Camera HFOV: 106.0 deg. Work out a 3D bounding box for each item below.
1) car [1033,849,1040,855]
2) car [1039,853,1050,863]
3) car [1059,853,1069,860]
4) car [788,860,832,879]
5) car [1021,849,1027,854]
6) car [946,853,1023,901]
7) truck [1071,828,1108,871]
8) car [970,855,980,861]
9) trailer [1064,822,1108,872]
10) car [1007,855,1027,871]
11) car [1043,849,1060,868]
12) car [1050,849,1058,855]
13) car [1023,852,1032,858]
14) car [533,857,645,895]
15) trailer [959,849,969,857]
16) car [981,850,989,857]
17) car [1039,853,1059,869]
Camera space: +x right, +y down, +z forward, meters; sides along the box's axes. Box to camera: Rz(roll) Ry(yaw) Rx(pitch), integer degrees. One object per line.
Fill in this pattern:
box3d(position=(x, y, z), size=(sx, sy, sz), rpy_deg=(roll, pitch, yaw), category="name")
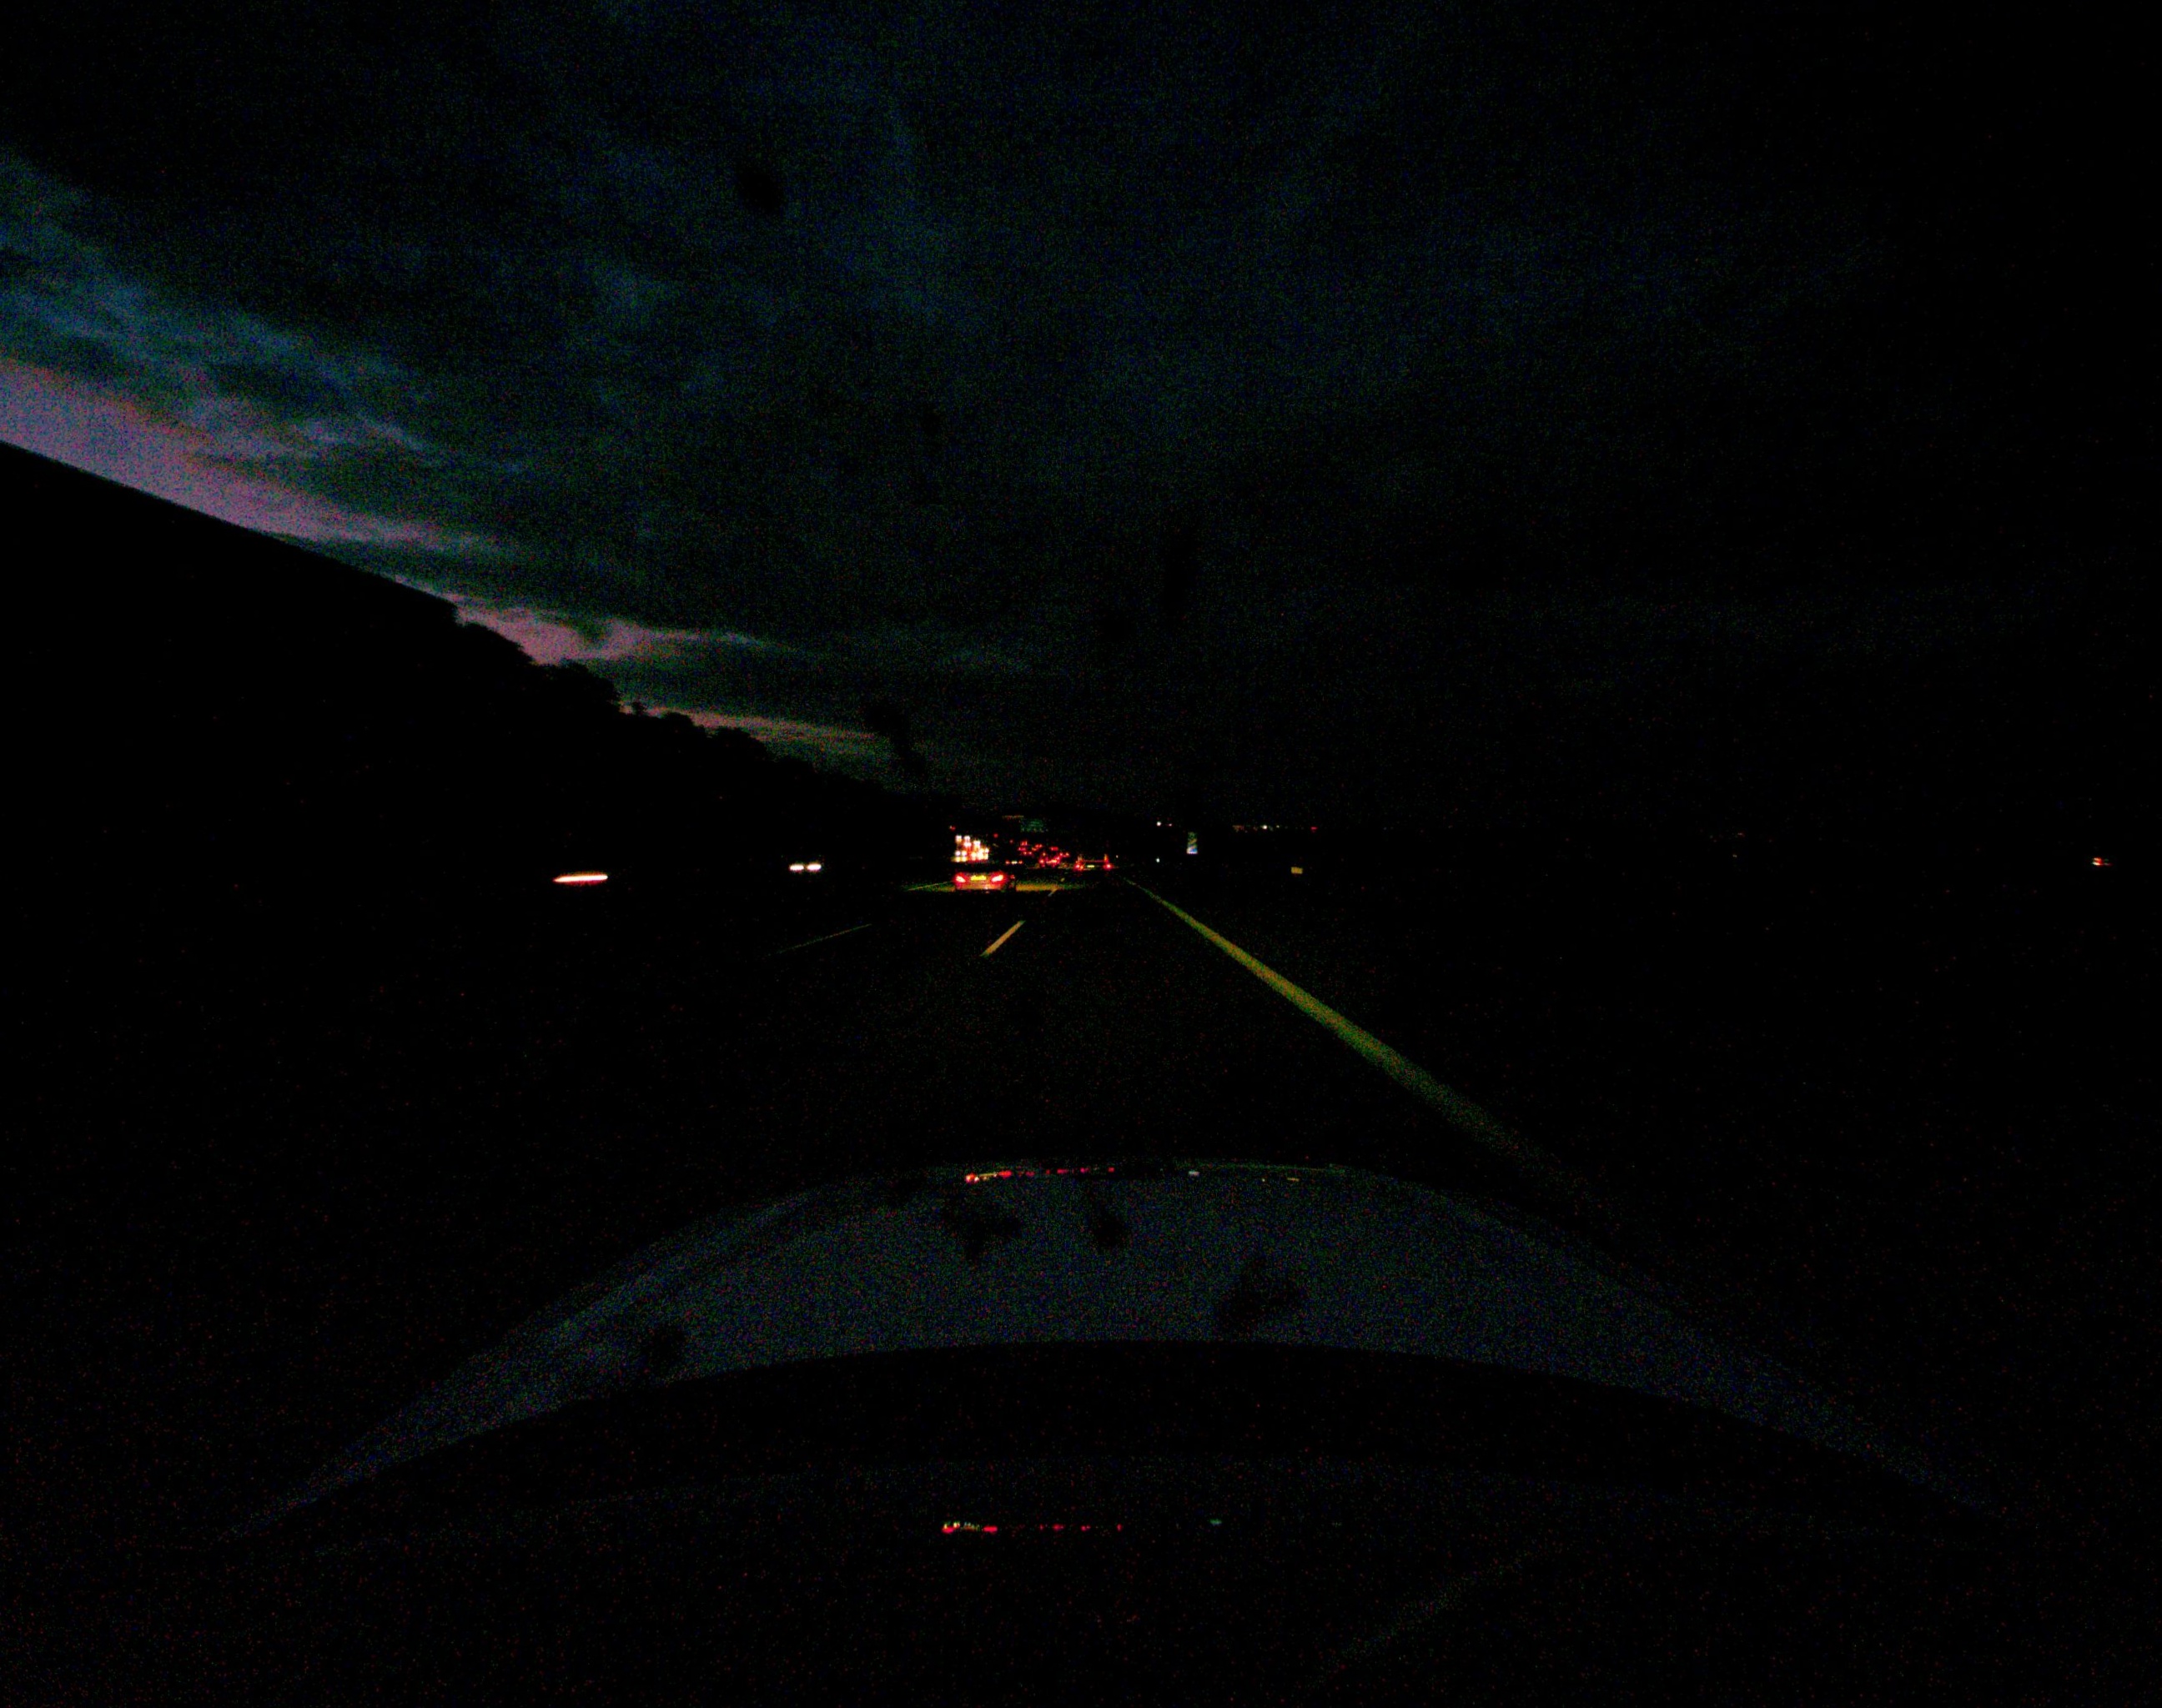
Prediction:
box3d(position=(-13.855, -0.665, 252.686), size=(1.991, 1.622, 3.990), rpy_deg=(0, 0, -7), category="car")
box3d(position=(-7.507, 0.883, 166.589), size=(1.990, 2.014, 3.993), rpy_deg=(0, 0, -5), category="car")
box3d(position=(-3.643, 0.550, 175.090), size=(1.989, 1.534, 3.995), rpy_deg=(0, 0, -4), category="car")
box3d(position=(-22.754, 1.239, 68.697), size=(1.987, 1.534, 5.006), rpy_deg=(0, 0, 0), category="car")
box3d(position=(-17.941, -0.743, 256.870), size=(1.990, 1.468, 3.993), rpy_deg=(0, 0, -5), category="car")
box3d(position=(-3.434, 0.775, 29.877), size=(1.898, 1.614, 4.809), rpy_deg=(0, 0, 4), category="car")
box3d(position=(0.886, -0.403, 81.485), size=(3.537, 4.091, 6.153), rpy_deg=(0, -1, 2), category="truck")
box3d(position=(-24.613, 0.981, 189.231), size=(1.684, 1.354, 4.895), rpy_deg=(0, 0, -1), category="car")
box3d(position=(0.634, -0.485, 74.366), size=(3.536, 4.116, 15.069), rpy_deg=(0, -1, 2), category="trailer")
box3d(position=(-6.781, 0.952, 86.187), size=(1.756, 1.575, 4.575), rpy_deg=(0, 0, 0), category="car")
box3d(position=(-3.828, 0.576, 105.726), size=(1.987, 2.380, 3.999), rpy_deg=(0, 0, 0), category="car")
box3d(position=(-8.051, -0.554, 242.967), size=(1.991, 1.978, 3.992), rpy_deg=(0, 0, -6), category="car")
box3d(position=(-13.221, 0.255, 201.148), size=(1.989, 1.622, 3.995), rpy_deg=(0, 0, -4), category="car")
box3d(position=(-20.955, 0.890, 34.952), size=(1.986, 1.505, 4.507), rpy_deg=(0, 0, 1), category="car")
box3d(position=(-29.037, -0.285, 202.910), size=(1.907, 2.002, 4.238), rpy_deg=(1, 0, -1), category="trailer")
box3d(position=(-27.891, -0.175, 237.401), size=(1.908, 1.867, 6.009), rpy_deg=(0, 0, -3), category="car")
box3d(position=(-3.391, 0.721, 86.391), size=(2.059, 1.686, 4.574), rpy_deg=(0, 0, -1), category="car")
